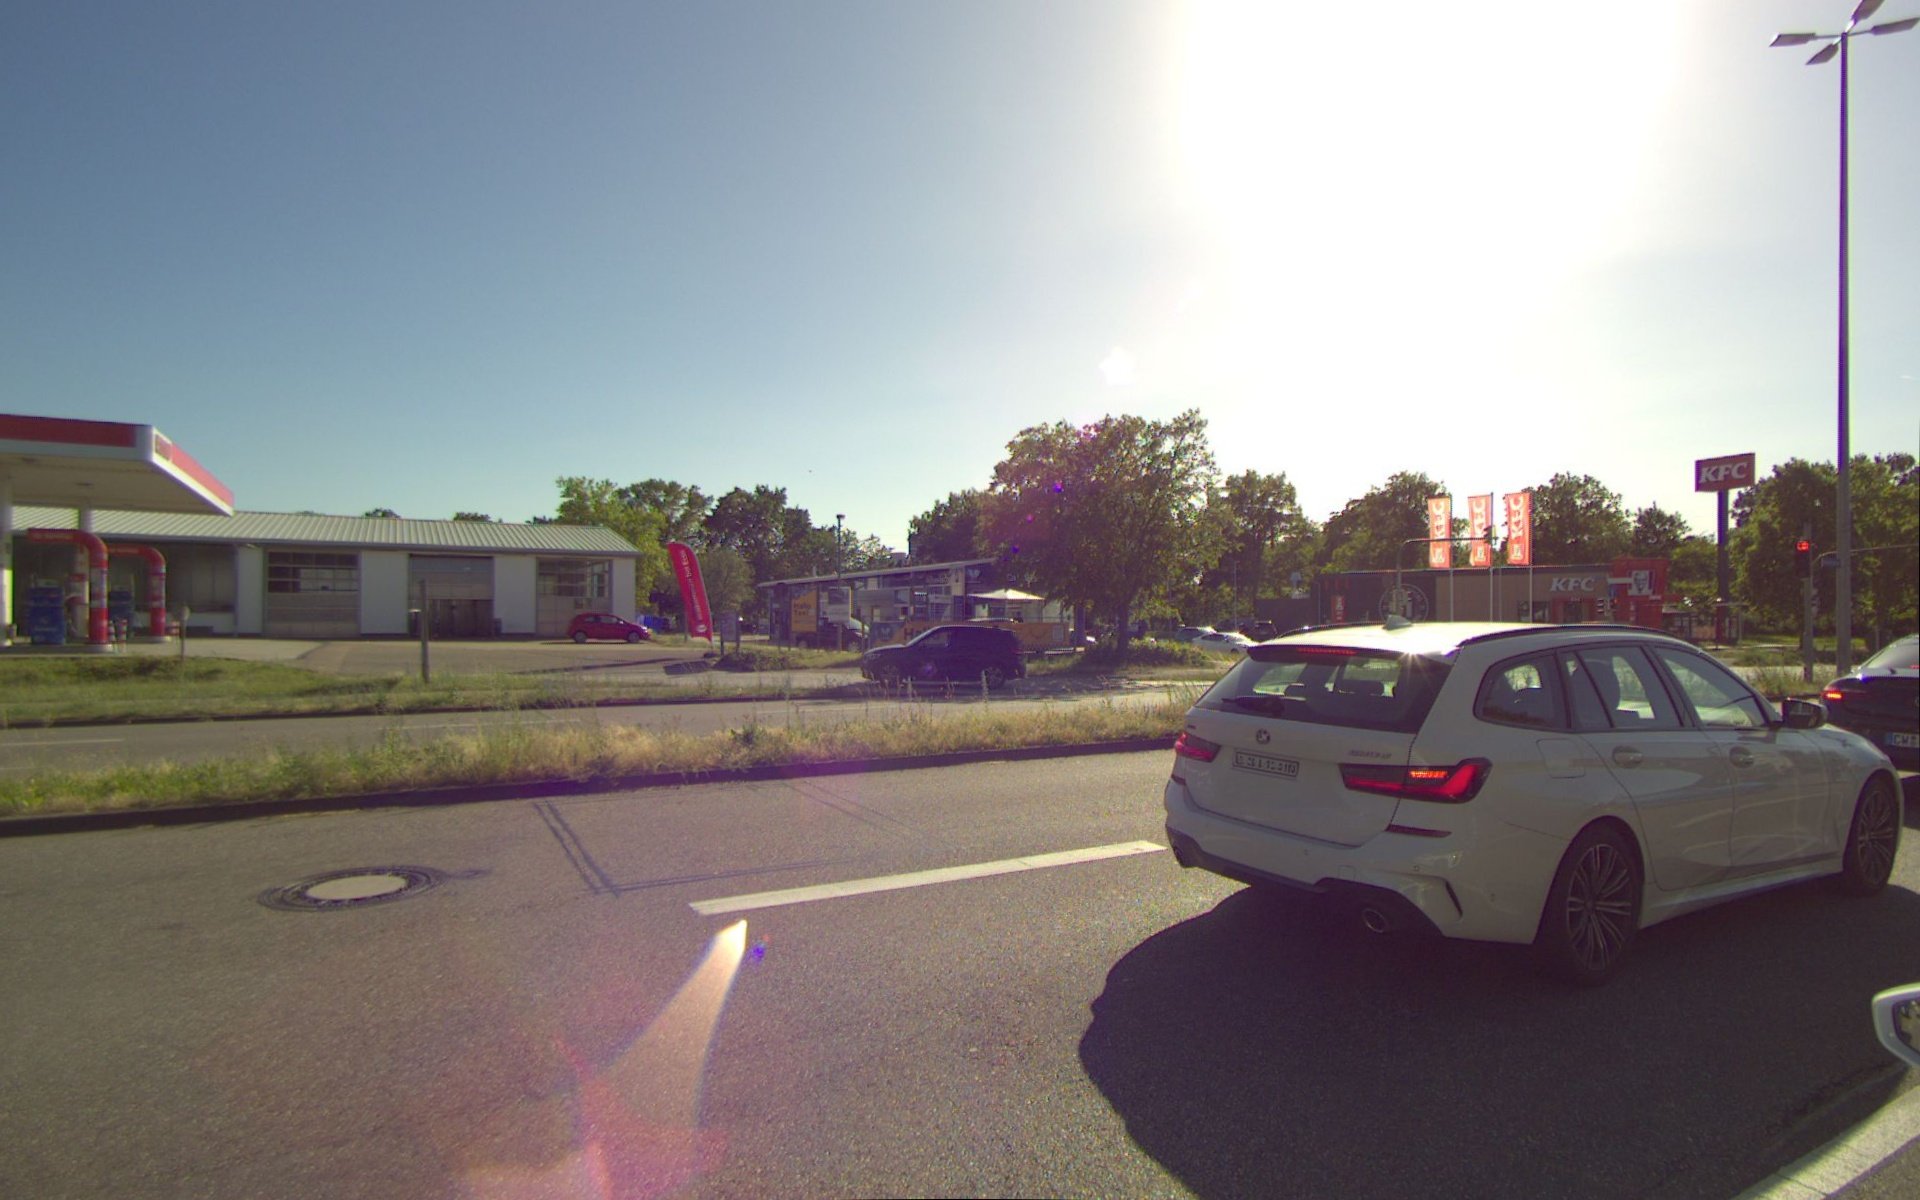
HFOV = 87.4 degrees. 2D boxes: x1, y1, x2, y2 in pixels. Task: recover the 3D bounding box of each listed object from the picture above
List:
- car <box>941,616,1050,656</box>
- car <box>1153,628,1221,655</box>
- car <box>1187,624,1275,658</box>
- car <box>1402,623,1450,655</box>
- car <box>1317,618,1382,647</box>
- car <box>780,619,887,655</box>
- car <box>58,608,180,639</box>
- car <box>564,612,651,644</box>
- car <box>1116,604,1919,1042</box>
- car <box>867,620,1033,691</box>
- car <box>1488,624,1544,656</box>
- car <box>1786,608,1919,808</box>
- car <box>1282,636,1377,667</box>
[{"bbox_3d":[1.438,1.447,40.715,3.941,1.461,1.990,2,0,-21],"label":"car"},{"bbox_3d":[14.117,2.554,62.629,1.914,1.472,3.934,2,0,-31],"label":"car"},{"bbox_3d":[14.758,2.224,54.880,1.914,1.600,4.599,2,0,-31],"label":"car"},{"bbox_3d":[28.650,2.383,61.862,1.896,1.763,4.099,2,0,14],"label":"car"},{"bbox_3d":[26.617,2.185,68.740,3.696,1.837,2.001,2,0,8],"label":"car"},{"bbox_3d":[-4.999,1.424,39.529,3.930,1.193,1.774,2,0,31],"label":"car"},{"bbox_3d":[-35.557,0.985,42.610,3.688,1.203,1.667,2,0,-30],"label":"car"},{"bbox_3d":[-17.475,1.387,49.801,3.949,1.491,1.521,2,0,-24],"label":"car"},{"bbox_3d":[3.197,0.809,5.383,4.541,1.506,1.804,1,0,-30],"label":"car"},{"bbox_3d":[-0.273,1.433,26.627,4.238,1.749,1.808,1,0,-2],"label":"car"},{"bbox_3d":[33.503,2.363,60.654,1.896,1.763,4.099,2,0,14],"label":"car"},{"bbox_3d":[9.533,0.901,9.071,4.491,1.572,1.803,1,0,-31],"label":"car"},{"bbox_3d":[17.819,2.473,48.659,1.850,1.268,4.062,2,0,-31],"label":"car"}]
